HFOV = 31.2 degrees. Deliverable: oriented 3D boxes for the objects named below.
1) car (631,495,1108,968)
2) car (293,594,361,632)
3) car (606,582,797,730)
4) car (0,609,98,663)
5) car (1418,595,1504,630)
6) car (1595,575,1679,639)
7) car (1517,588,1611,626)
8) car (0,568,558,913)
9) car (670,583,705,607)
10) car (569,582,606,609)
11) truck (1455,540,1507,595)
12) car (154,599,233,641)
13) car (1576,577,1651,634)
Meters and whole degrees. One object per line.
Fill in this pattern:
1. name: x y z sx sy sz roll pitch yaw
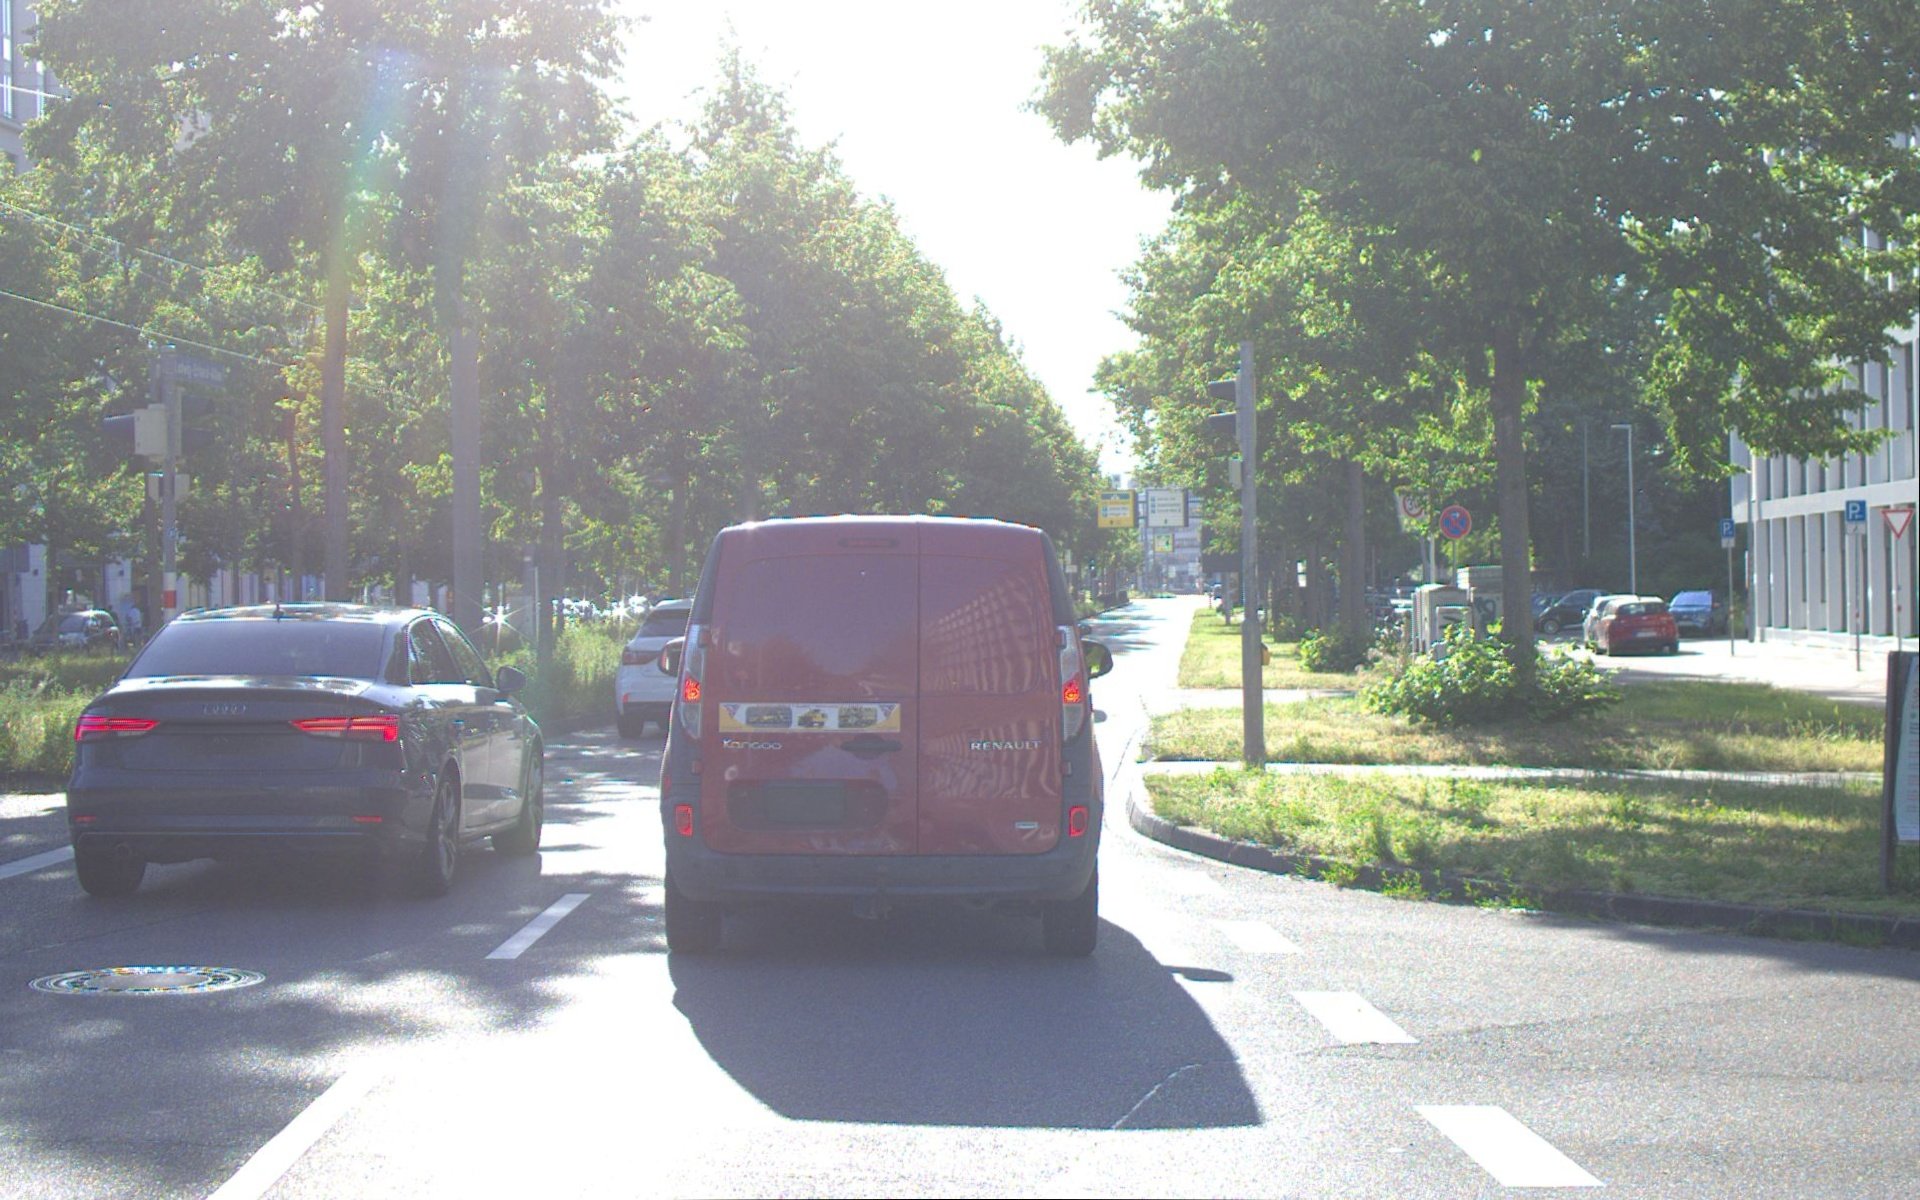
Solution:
1. car: -0.377 0.529 15.232 1.808 1.788 4.113 -1 -1 -1
2. car: -23.326 0.481 126.817 1.580 1.338 3.711 -1 0 4
3. car: -2.660 0.545 36.111 1.808 1.430 4.113 -1 1 -2
4. car: -27.076 1.049 102.069 1.776 1.523 3.805 -1 0 4
5. car: 20.396 0.509 139.999 3.400 1.354 1.470 -1 0 11
6. car: 17.554 0.158 89.242 1.758 1.606 3.902 0 1 6
7. car: 22.466 0.261 127.904 3.400 1.354 1.470 -1 0 11
8. car: -3.297 0.612 17.439 1.808 1.522 4.112 -1 1 3
9. car: -18.267 -0.357 230.508 1.756 1.568 3.999 -1 0 4
10. car: -24.248 -0.298 223.906 1.732 1.766 3.999 -1 0 4
11. truck: 24.193 -1.485 159.806 1.832 2.492 5.932 0 0 4
12. car: -25.513 0.662 114.487 1.580 1.338 3.711 -1 0 4
13. car: 17.871 0.133 94.152 1.820 1.527 3.436 -1 0 8
